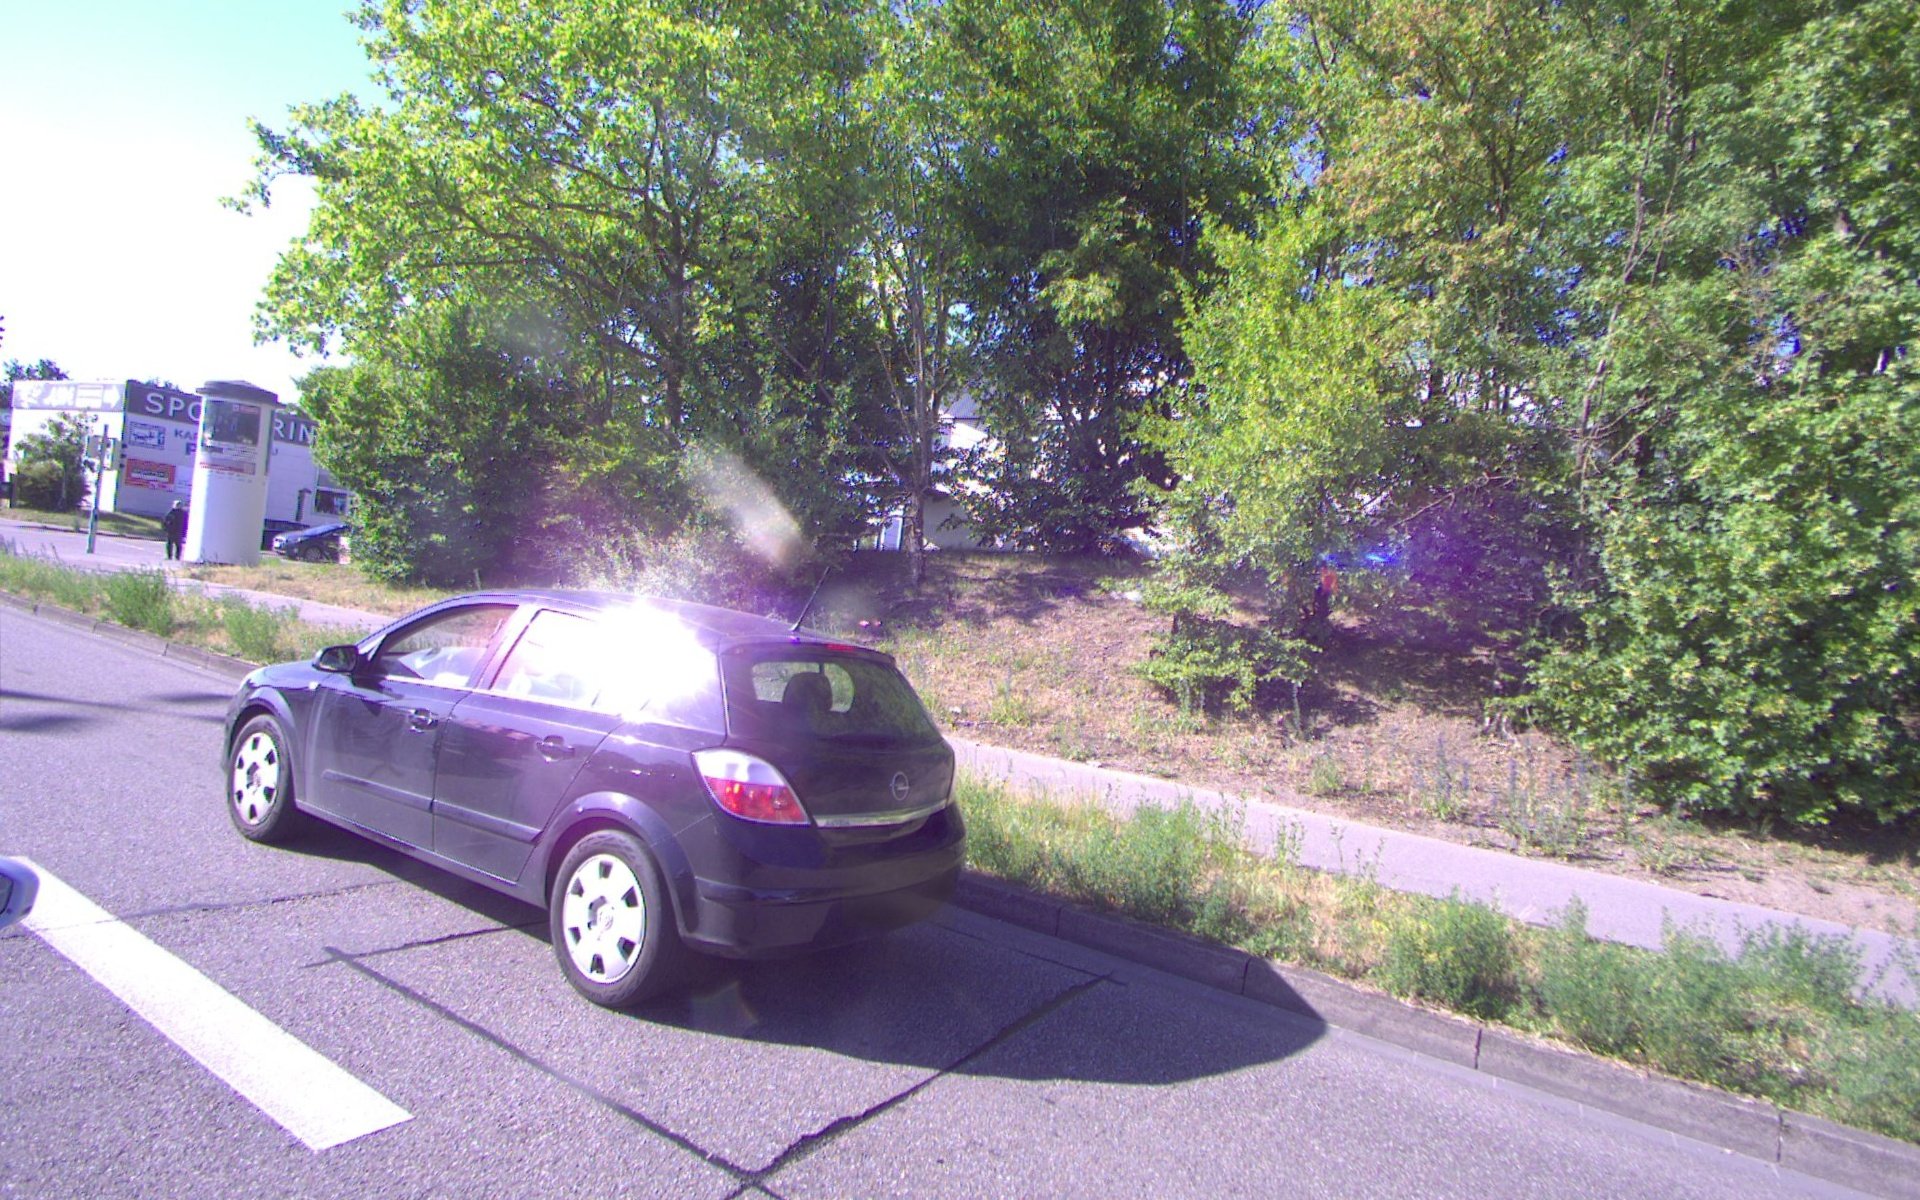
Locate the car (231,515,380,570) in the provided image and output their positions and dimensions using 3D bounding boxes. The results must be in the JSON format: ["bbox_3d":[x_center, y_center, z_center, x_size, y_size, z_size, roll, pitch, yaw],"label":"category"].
[{"bbox_3d":[-27.170,-2.354,41.955,1.729,1.484,4.831,6,-3,30],"label":"car"}]

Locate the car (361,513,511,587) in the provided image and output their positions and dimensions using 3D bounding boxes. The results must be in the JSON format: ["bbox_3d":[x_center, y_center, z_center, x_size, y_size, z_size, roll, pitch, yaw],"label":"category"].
[{"bbox_3d":[-24.254,-2.247,46.852,1.967,2.705,5.840,6,0,32],"label":"car"}]

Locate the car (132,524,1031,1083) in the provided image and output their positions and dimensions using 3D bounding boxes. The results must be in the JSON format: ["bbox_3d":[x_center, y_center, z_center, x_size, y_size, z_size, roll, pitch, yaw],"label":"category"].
[{"bbox_3d":[-2.026,0.621,4.939,4.299,1.458,1.737,7,-2,32],"label":"car"}]

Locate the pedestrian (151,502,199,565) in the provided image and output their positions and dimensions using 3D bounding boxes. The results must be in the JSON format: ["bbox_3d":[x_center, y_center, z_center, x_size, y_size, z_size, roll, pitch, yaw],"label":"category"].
[{"bbox_3d":[-22.700,-1.916,29.092,0.506,1.688,0.818,7,-1,31],"label":"pedestrian"}]

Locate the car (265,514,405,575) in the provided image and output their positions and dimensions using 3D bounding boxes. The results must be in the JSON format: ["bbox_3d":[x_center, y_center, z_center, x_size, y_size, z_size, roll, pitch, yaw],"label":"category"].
[{"bbox_3d":[-24.629,-2.142,39.798,1.611,1.668,4.316,6,-2,31],"label":"car"}]
